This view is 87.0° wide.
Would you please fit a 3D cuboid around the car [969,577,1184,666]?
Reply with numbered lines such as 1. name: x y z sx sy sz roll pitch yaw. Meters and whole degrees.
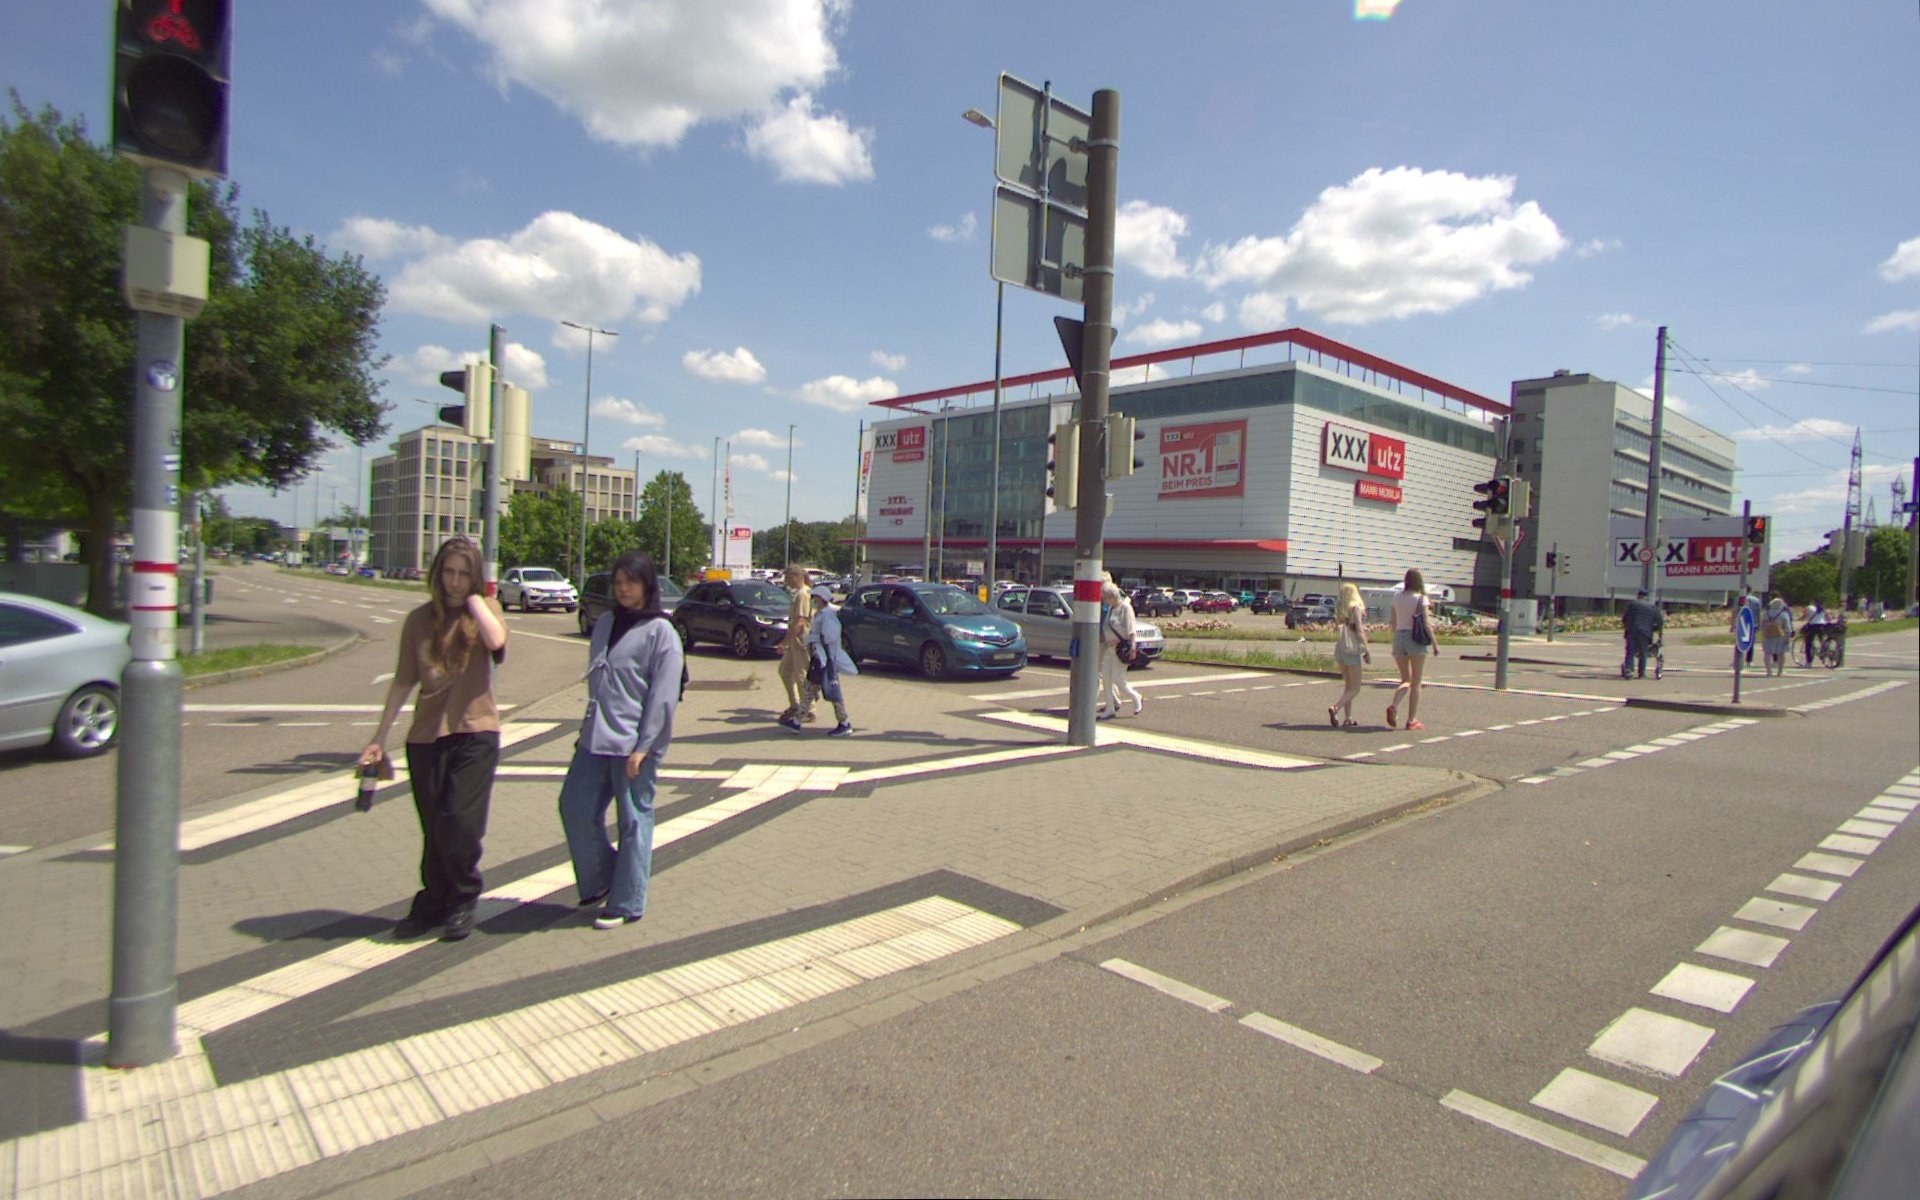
1. car: 2.057 0.329 18.758 1.770 1.414 3.835 1 1 -38

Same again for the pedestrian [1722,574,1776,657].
1. pedestrian: 18.395 0.337 23.589 0.783 1.888 0.805 0 1 -38

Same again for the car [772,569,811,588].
1. car: -18.183 -2.298 109.144 3.930 2.039 1.544 0 1 -41

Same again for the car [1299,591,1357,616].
1. car: 26.645 0.200 73.215 4.423 1.738 1.997 -1 1 -40

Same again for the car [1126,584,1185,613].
1. car: 13.910 -0.097 71.938 4.407 1.936 1.590 0 1 -39

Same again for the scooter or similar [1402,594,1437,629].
1. scooter or similar: 17.582 0.439 38.728 1.252 1.307 0.481 0 0 -23

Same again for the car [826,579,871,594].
1. car: -11.271 -1.360 102.172 4.178 1.430 1.859 0 1 -39

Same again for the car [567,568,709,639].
1. car: -8.058 0.026 25.106 1.830 1.604 4.409 0 1 -40

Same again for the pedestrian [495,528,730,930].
1. pedestrian: -1.517 0.518 4.570 0.753 1.626 0.897 1 1 -1

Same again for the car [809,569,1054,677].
1. car: -0.567 0.294 16.855 1.966 1.575 3.992 0 1 -42

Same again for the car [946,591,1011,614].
1. car: 1.196 0.128 64.165 3.874 1.393 1.852 0 1 -41

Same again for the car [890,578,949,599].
1. car: -3.442 -1.007 86.485 4.780 1.723 1.853 0 1 -38

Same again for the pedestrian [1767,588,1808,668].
1. pedestrian: 15.831 0.524 19.383 0.588 1.494 0.795 0 0 38

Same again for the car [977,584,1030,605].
1. car: 3.321 -0.416 76.497 1.849 1.565 3.936 1 1 44

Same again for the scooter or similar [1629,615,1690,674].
1. scooter or similar: 12.958 0.809 18.749 0.847 1.044 0.691 0 1 -38

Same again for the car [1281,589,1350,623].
1. car: 22.010 0.365 62.545 4.372 2.039 1.999 0 1 -39

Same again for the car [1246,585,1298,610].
1. car: 25.374 -0.230 82.258 4.440 1.918 1.997 0 1 -40

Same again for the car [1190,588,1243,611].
1. car: 20.465 -0.046 80.668 4.177 1.429 1.861 5 2 -38

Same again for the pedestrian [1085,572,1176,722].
1. pedestrian: 1.976 0.508 11.718 0.846 1.658 0.608 -1 1 -29

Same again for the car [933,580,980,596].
1. car: -0.307 -1.100 92.165 3.926 1.457 1.853 0 1 -38

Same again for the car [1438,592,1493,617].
1. car: 35.378 0.308 70.726 4.443 1.583 1.996 0 1 -43

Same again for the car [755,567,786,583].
1. car: -24.939 -3.306 133.042 3.703 2.039 1.654 1 1 -40

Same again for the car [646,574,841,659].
1. car: -4.519 0.262 20.702 1.823 1.461 4.403 0 2 -45

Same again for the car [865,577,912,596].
1. car: -6.811 -1.305 96.647 4.095 1.723 1.853 1 1 -39

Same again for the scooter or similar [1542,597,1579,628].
1. scooter or similar: 24.034 0.491 40.516 1.252 1.140 0.481 -3 1 -13

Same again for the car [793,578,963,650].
1. car: -1.926 0.250 22.553 1.770 1.415 4.231 -2 2 -37

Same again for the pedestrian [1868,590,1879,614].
1. pedestrian: 69.404 0.156 76.907 0.623 1.815 0.518 1 1 -42

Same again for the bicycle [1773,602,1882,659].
1. bicycle: 19.814 0.671 23.176 0.815 1.176 1.880 1 1 -2

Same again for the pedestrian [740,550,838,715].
1. pedestrian: -1.843 0.324 10.862 0.834 1.680 0.799 1 1 -25

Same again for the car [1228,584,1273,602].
1. car: 27.483 -0.681 95.803 4.440 1.714 1.997 0 1 -40

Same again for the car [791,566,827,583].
1. car: -18.693 -3.127 125.174 3.932 2.039 1.996 0 1 -42

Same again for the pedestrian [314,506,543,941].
1. pedestrian: -2.237 0.482 4.340 0.612 1.704 0.726 1 1 -3

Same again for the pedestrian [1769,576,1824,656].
1. pedestrian: 18.957 0.349 22.958 0.799 1.782 0.789 1 0 30

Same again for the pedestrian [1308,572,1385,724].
1. pedestrian: 4.215 0.497 11.044 0.601 1.599 0.528 0 1 -38

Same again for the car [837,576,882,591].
1. car: -9.932 -1.599 100.190 4.178 1.430 1.859 0 1 -39

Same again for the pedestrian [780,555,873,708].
1. pedestrian: -1.551 0.341 11.692 0.834 1.680 0.799 1 1 -25

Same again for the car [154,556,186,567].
1. car: -126.083 -6.176 161.527 1.780 1.632 3.665 1 1 24

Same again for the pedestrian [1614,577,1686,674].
1. pedestrian: 12.569 0.444 18.439 0.929 1.693 0.785 0 1 -35

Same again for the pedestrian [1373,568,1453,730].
1. pedestrian: 4.869 0.501 10.876 0.628 1.687 0.528 0 1 -38

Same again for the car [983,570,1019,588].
1. car: 5.027 -2.558 123.086 4.209 2.039 1.849 1 1 -40

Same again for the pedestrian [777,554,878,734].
1. pedestrian: -1.322 0.407 9.996 0.834 1.680 0.799 1 1 -19

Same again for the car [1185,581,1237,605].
1. car: 21.147 -0.614 85.222 4.440 1.918 1.997 0 1 -41

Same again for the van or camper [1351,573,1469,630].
1. van or camper: 25.104 0.048 56.266 7.472 2.983 2.717 -1 1 -37

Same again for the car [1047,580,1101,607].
1. car: 8.717 -0.520 77.409 3.929 2.039 1.998 -1 1 -40

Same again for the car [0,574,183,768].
1. car: -7.965 0.531 7.077 1.700 1.436 4.321 0 1 1

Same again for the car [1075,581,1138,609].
1. car: 11.017 -0.403 75.892 4.877 2.039 1.998 -1 1 -40

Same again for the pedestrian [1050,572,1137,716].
1. pedestrian: 1.617 0.499 12.227 0.846 1.658 0.605 -1 1 -29

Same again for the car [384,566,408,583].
1. car: -71.234 -3.207 127.799 1.965 2.039 3.995 0 1 -40

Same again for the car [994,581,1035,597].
1. car: 5.287 -1.082 97.409 3.931 1.546 1.692 0 1 -41

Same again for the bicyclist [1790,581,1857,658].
1. bicyclist: 19.703 0.427 23.108 0.801 1.722 0.799 1 1 -1

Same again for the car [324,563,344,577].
1. car: -79.006 -3.795 127.708 1.730 1.632 3.544 0 1 -40

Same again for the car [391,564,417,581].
1. car: -68.127 -3.416 124.007 1.965 2.039 3.995 0 1 -40

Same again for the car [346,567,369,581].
1. car: -69.311 -2.983 116.343 1.730 1.632 3.544 0 1 -40

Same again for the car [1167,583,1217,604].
1. car: 20.145 -0.580 87.684 4.440 1.756 1.997 0 1 -40

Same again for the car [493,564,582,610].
1. car: -16.099 -0.514 38.444 1.965 1.660 4.077 1 1 -40

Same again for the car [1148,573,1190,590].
1. car: 21.370 -1.886 103.505 4.442 1.714 1.996 0 1 -42
